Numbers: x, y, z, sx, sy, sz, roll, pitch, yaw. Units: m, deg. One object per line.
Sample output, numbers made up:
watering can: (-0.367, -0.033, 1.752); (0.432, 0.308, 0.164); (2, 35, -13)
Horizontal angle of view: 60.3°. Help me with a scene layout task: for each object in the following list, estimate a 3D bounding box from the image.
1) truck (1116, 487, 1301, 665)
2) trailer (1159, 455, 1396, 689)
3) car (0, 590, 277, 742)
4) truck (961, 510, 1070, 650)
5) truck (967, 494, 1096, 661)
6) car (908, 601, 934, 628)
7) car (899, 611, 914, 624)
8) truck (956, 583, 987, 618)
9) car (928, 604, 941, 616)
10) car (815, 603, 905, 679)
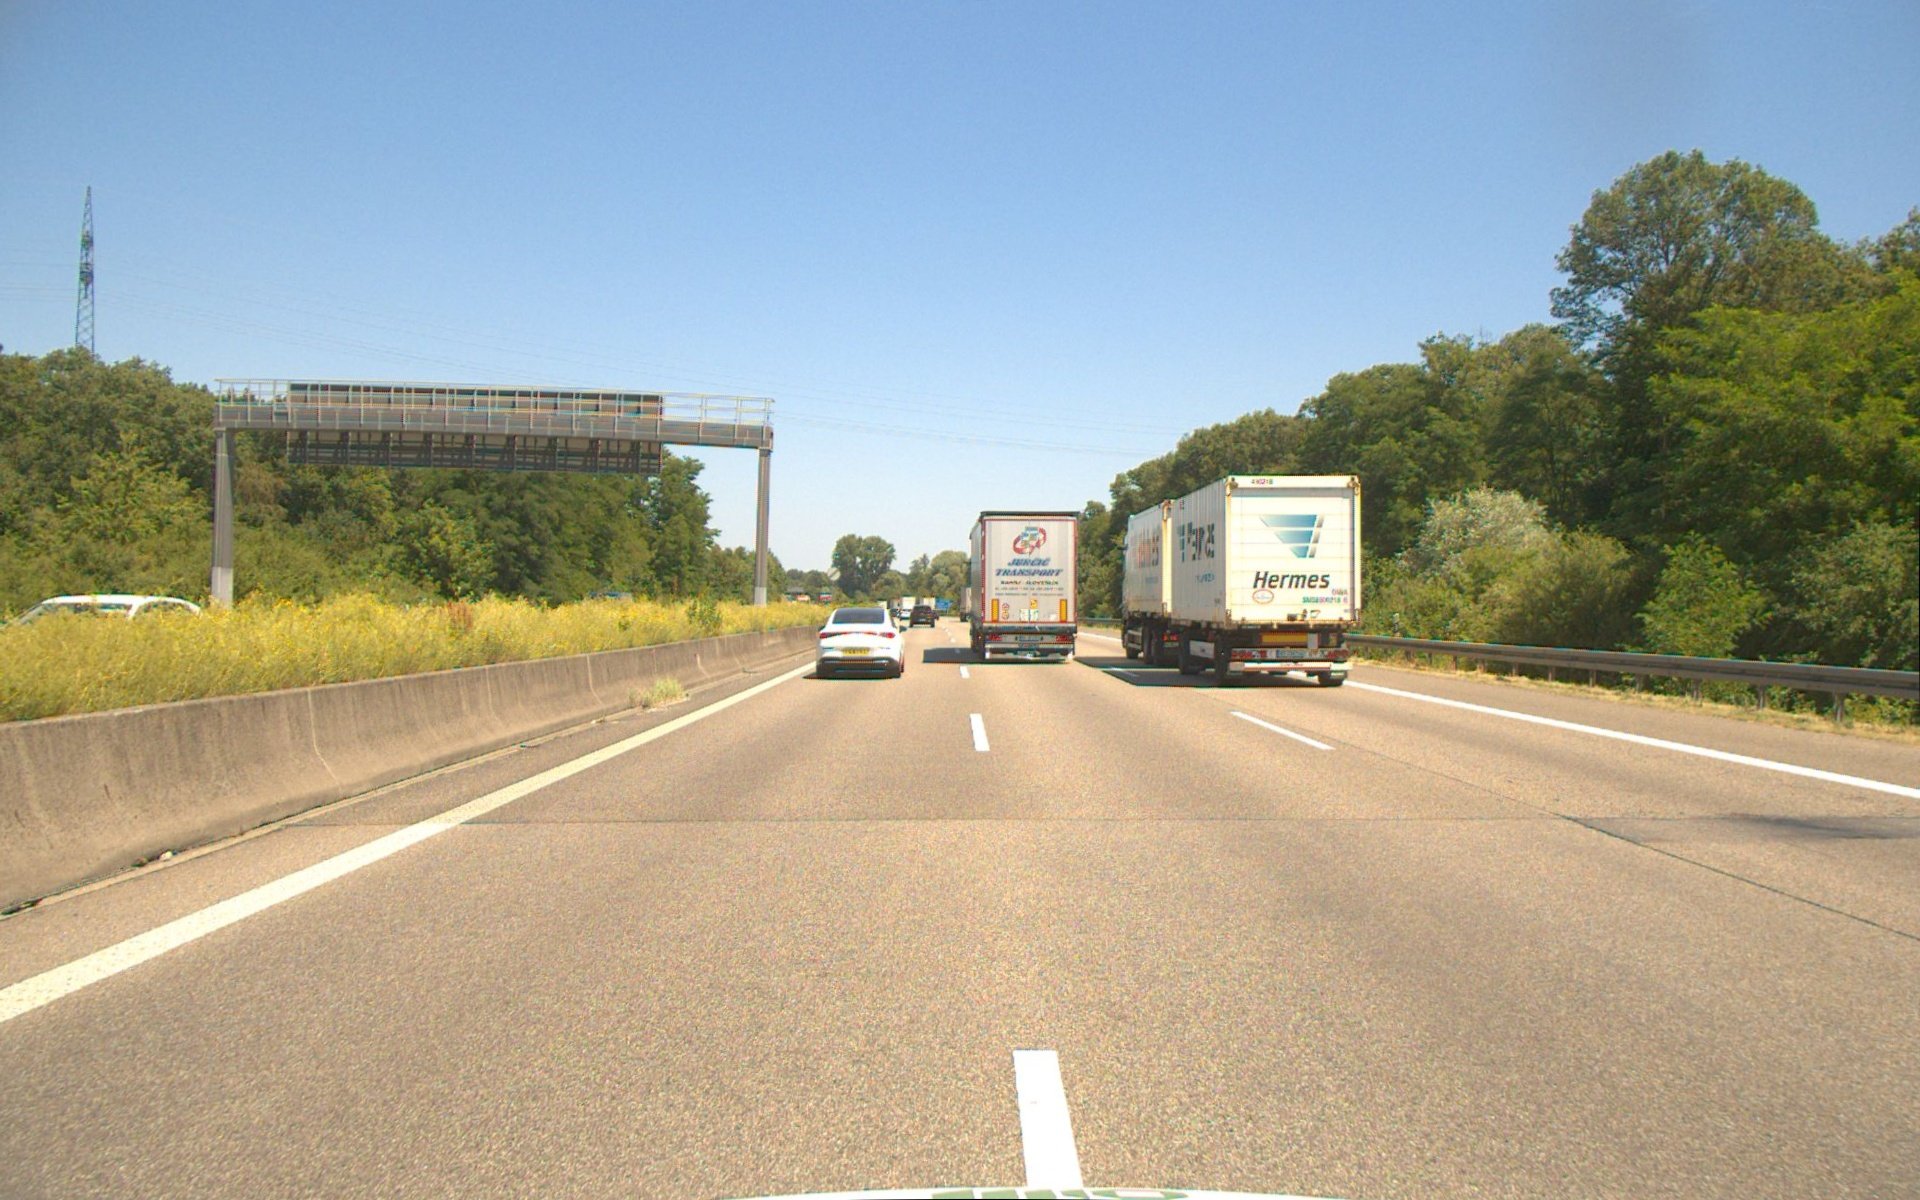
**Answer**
truck: (6.286, -0.535, 43.874); (3.257, 4.124, 10.952); (0, 0, 0)
trailer: (6.307, -0.524, 34.506); (3.298, 4.215, 9.092); (0, 0, 1)
car: (-11.087, 0.814, 22.501); (1.953, 1.872, 4.073); (0, 0, -1)
truck: (1.698, -0.610, 53.730); (3.153, 4.278, 6.548); (0, 0, -2)
truck: (1.858, -0.597, 46.730); (3.163, 4.275, 8.464); (0, 0, -1)
car: (-3.037, 1.113, 129.003); (1.953, 1.906, 3.999); (0, 1, -2)
car: (-6.986, 2.265, 216.068); (1.953, 1.624, 3.999); (0, 0, -1)
truck: (1.369, 0.053, 196.978); (3.375, 4.059, 9.512); (0, 0, -2)
car: (-3.626, 1.450, 234.843); (1.953, 1.624, 3.999); (0, 0, -1)
car: (-2.144, 0.843, 36.508); (1.731, 1.473, 5.108); (0, 1, -1)
